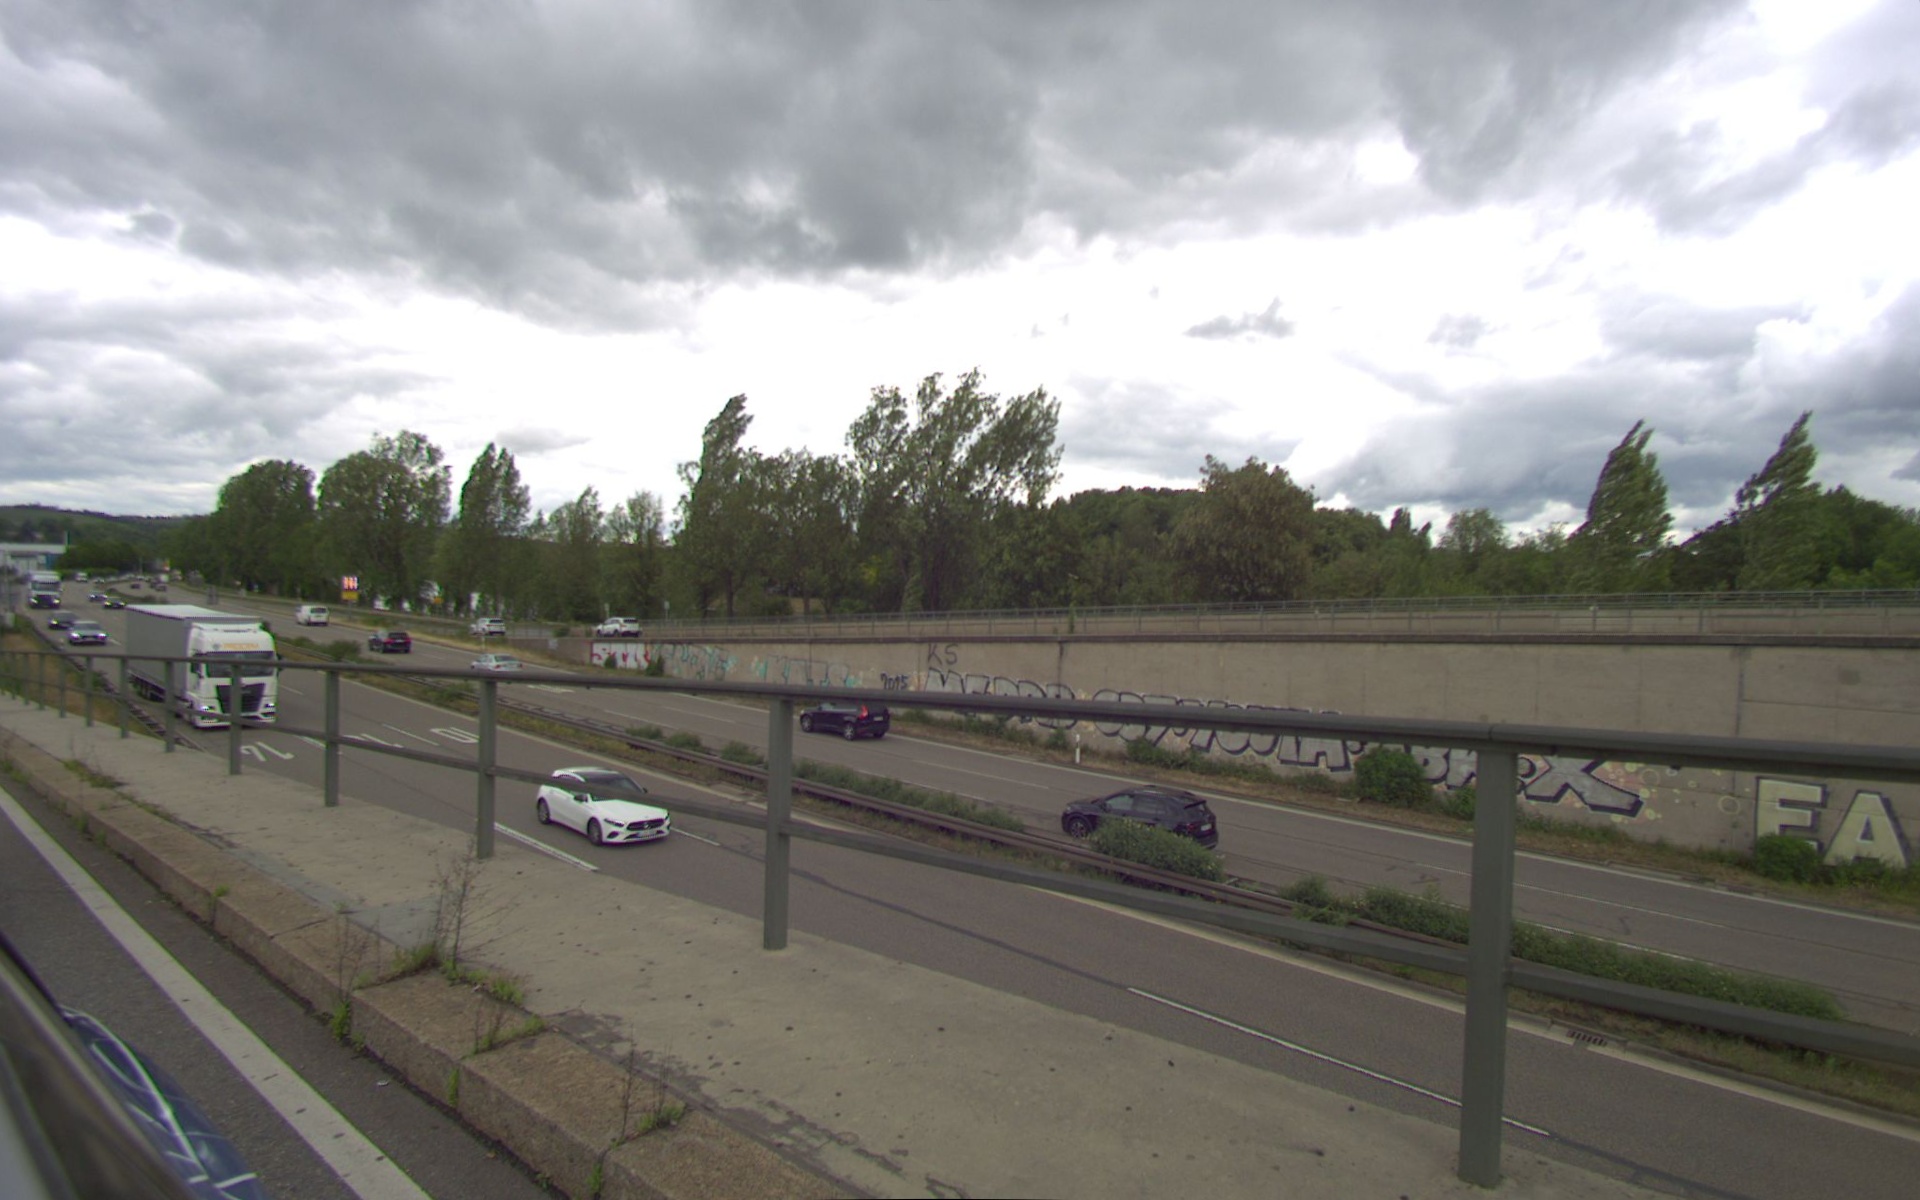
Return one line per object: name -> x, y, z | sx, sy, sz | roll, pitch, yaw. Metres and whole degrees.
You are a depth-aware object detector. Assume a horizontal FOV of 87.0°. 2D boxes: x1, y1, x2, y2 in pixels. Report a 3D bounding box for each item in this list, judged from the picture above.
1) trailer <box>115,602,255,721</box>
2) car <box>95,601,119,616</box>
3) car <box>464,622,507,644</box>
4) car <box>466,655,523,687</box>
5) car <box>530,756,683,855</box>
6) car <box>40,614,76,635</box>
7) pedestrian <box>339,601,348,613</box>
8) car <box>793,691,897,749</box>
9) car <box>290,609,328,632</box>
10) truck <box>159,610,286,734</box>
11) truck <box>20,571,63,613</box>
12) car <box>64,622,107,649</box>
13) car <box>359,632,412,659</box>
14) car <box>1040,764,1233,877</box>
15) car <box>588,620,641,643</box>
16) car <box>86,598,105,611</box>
trailer -> -35.010, 2.445, 45.384 | 13.152, 4.283, 2.721 | 2, 0, 43
car -> -101.182, 0.996, 120.072 | 4.168, 1.619, 1.833 | 1, 0, 45
car -> -42.306, 2.969, 90.153 | 4.211, 1.884, 1.973 | -2, -1, 41
car -> -27.438, 4.141, 59.606 | 4.089, 1.539, 1.709 | 2, 0, 45
car -> -8.878, 5.013, 25.232 | 4.279, 1.429, 1.894 | 3, 2, 44
car -> -74.847, 2.021, 83.947 | 4.166, 1.619, 1.834 | 2, 0, 43
pedestrian -> -87.931, 0.989, 144.334 | 1.078, 1.718, 0.820 | 3, 2, 43
car -> -4.925, 5.036, 42.930 | 4.408, 1.855, 1.911 | 2, 1, 41
car -> -65.410, 2.027, 101.612 | 5.177, 2.082, 1.972 | 2, 1, 42
truck -> -29.301, 2.679, 40.079 | 6.699, 4.283, 2.721 | 2, 0, 43
truck -> -105.544, -0.998, 116.211 | 11.131, 4.559, 3.136 | 3, 1, 45
car -> -60.962, 2.475, 70.539 | 4.166, 1.619, 1.834 | 2, 1, 43
car -> -41.962, 3.303, 73.942 | 4.550, 1.751, 1.896 | 2, 0, 40
car -> 4.443, 5.498, 25.806 | 4.422, 1.855, 1.973 | 2, 0, 41
car -> -25.128, 2.267, 73.479 | 4.346, 1.588, 1.812 | -2, -1, 43
car -> -119.456, 0.617, 139.844 | 1.832, 1.619, 4.171 | 1, 1, -42
